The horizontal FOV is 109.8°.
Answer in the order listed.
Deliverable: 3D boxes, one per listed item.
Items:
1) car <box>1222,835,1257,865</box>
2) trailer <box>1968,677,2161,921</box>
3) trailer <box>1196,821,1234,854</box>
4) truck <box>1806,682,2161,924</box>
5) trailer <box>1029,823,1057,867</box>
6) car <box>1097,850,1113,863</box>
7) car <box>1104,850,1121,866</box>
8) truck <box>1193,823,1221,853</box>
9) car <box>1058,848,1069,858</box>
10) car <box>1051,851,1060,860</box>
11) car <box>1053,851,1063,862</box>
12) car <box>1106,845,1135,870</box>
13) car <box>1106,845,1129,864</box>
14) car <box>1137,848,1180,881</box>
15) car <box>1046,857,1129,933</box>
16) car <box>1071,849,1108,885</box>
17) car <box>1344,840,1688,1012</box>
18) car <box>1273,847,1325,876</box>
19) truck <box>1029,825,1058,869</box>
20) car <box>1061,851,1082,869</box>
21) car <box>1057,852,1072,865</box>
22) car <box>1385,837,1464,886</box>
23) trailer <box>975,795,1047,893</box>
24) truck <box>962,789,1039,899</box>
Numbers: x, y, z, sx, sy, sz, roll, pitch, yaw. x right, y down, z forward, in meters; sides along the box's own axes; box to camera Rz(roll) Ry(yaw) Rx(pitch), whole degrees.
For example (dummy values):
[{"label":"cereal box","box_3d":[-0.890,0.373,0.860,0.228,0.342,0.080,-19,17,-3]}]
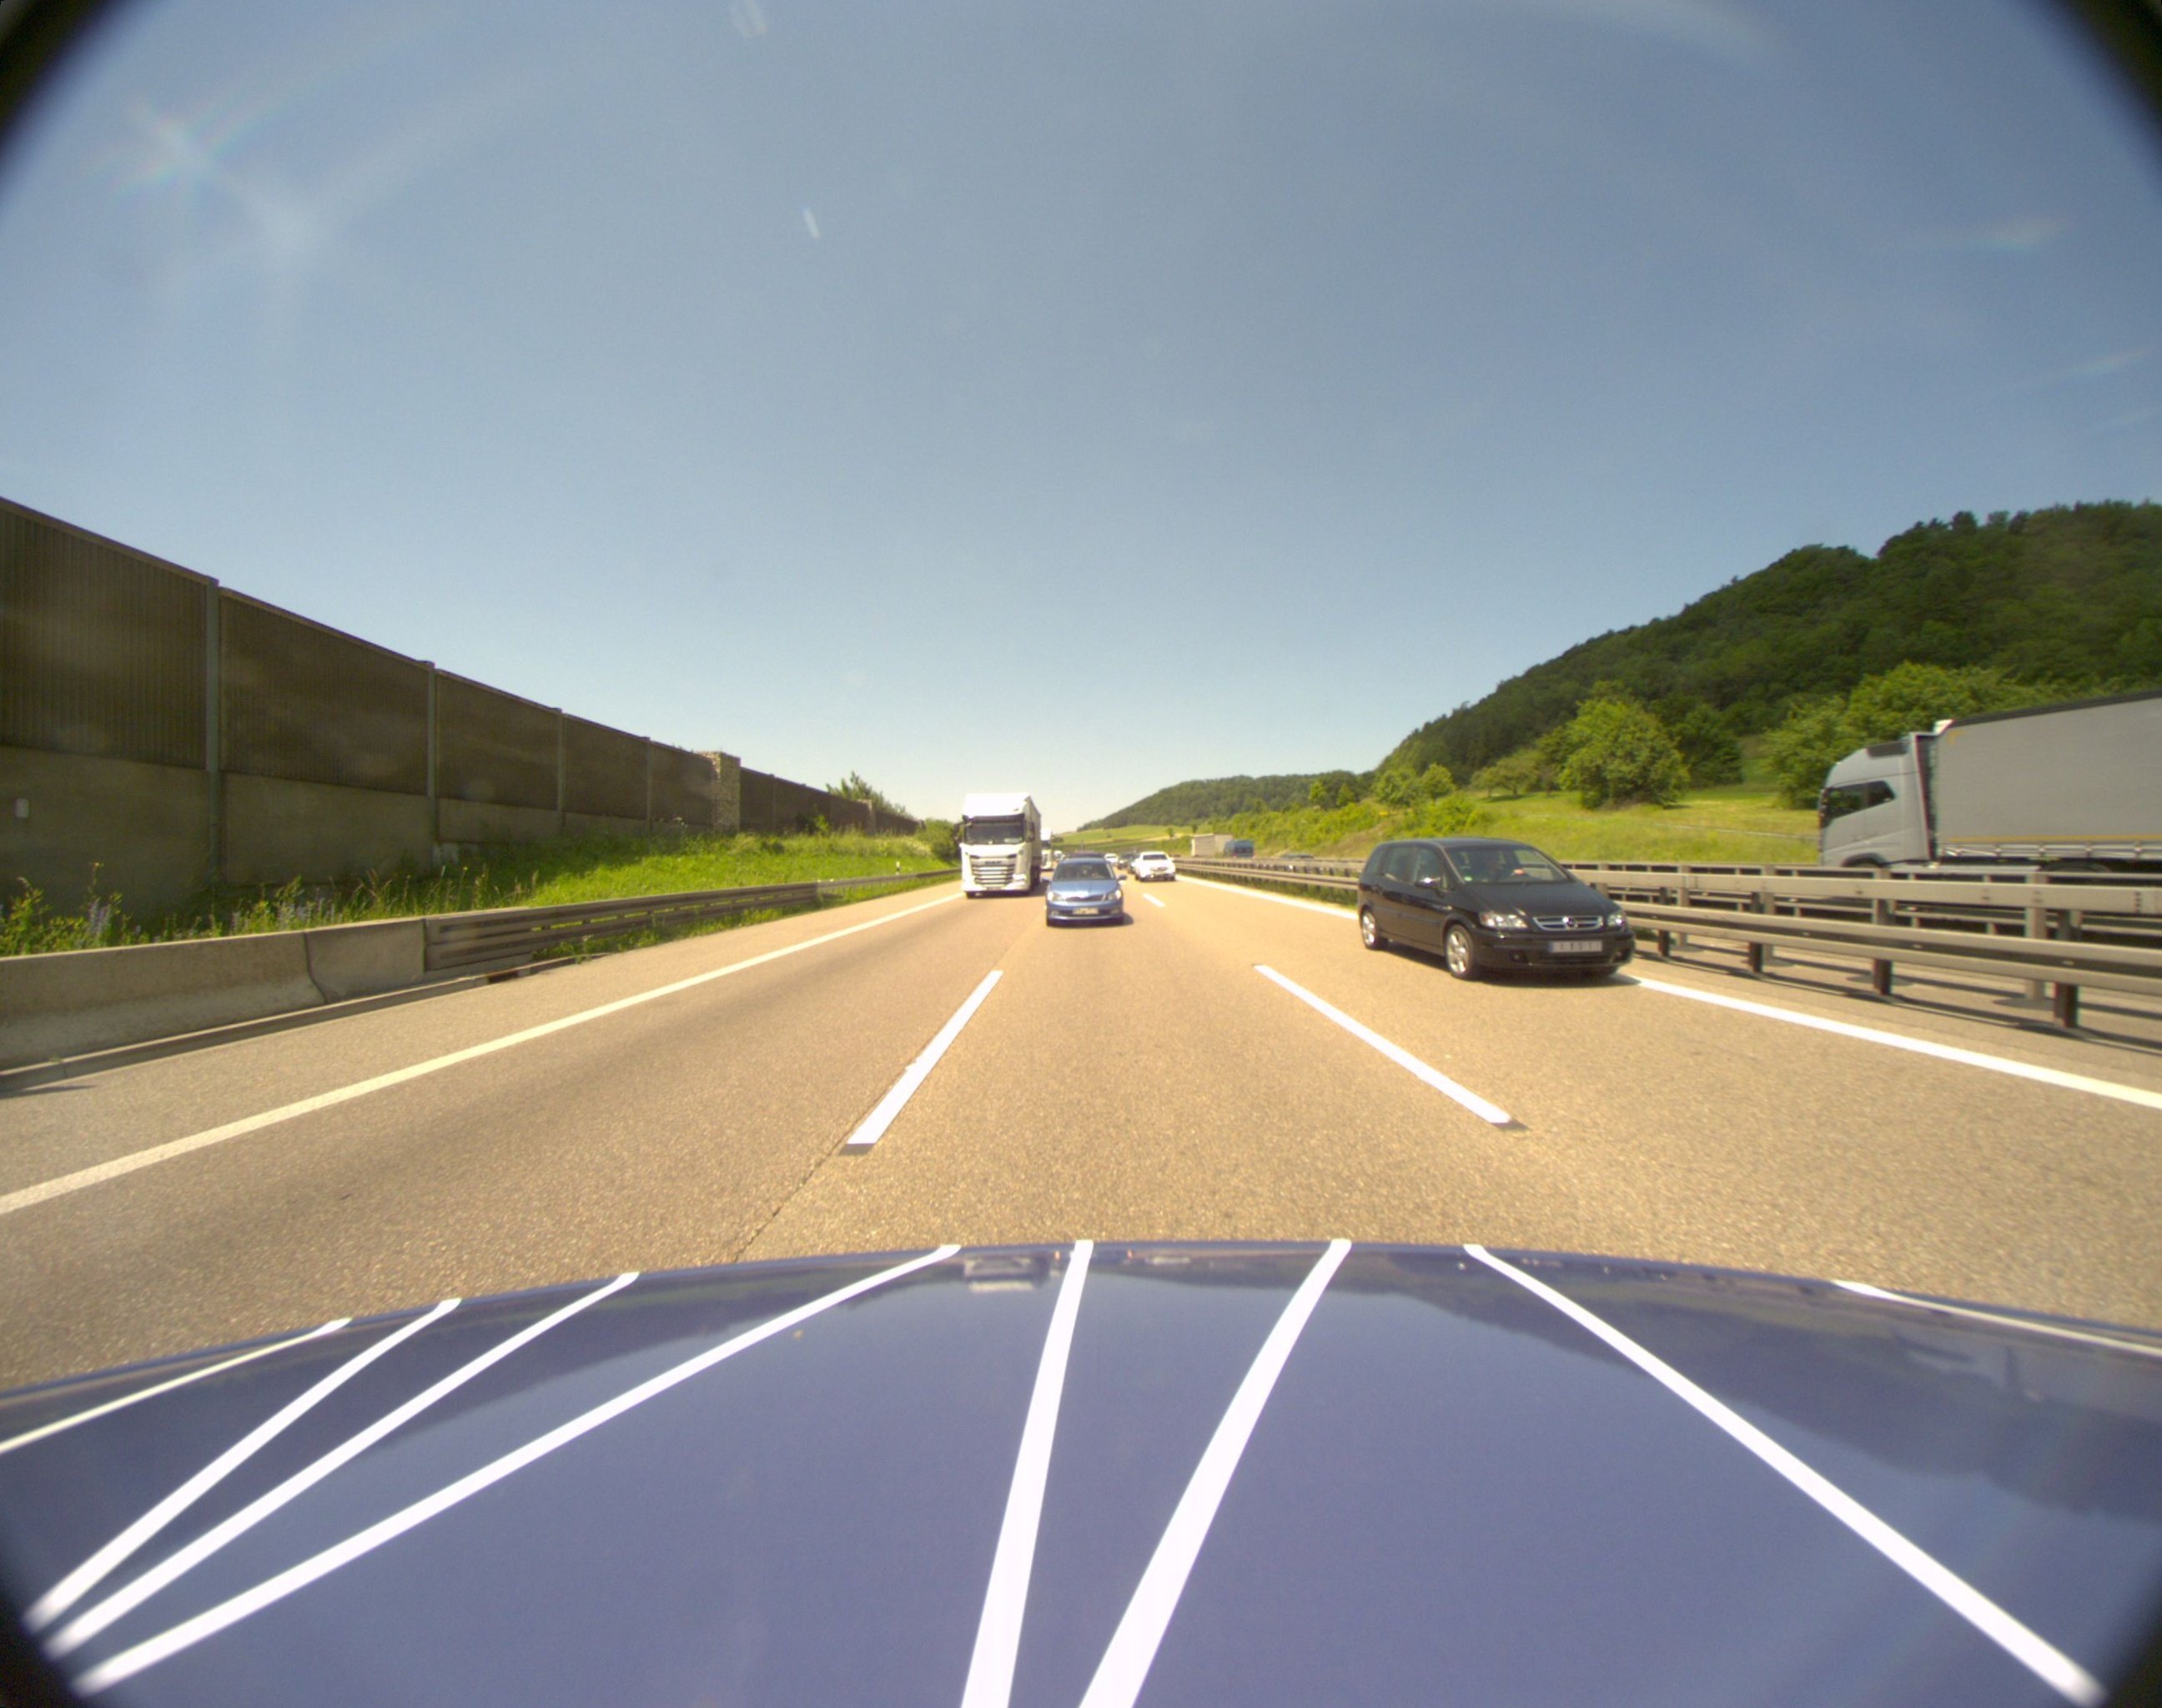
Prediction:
[{"label":"car","box_3d":[15.812,-0.460,76.299,2.161,2.846,6.398,-2,1,0]},{"label":"trailer","box_3d":[20.120,-0.939,9.402,3.255,4.180,12.998,-2,1,1]},{"label":"trailer","box_3d":[18.541,-2.240,106.001,2.862,4.167,13.612,-2,1,0]},{"label":"truck","box_3d":[20.142,-0.952,15.912,3.286,4.124,6.954,-2,1,0]},{"label":"trailer","box_3d":[-4.131,-0.946,79.784,2.545,4.085,13.621,-2,1,-4]},{"label":"car","box_3d":[3.227,0.342,103.299,1.998,1.702,3.999,-2,1,1]},{"label":"car","box_3d":[3.782,0.451,91.602,1.998,1.702,3.999,-2,1,1]},{"label":"truck","box_3d":[18.509,-2.301,112.248,2.805,4.208,7.229,-2,1,0]},{"label":"car","box_3d":[-3.239,-0.137,139.645,1.999,1.702,3.998,-2,1,-2]},{"label":"car","box_3d":[-6.079,0.305,178.404,1.999,2.002,3.998,-2,1,-2]},{"label":"car","box_3d":[-4.553,0.438,149.573,1.999,2.002,3.998,-2,1,-2]},{"label":"car","box_3d":[2.940,0.214,57.129,1.998,1.692,3.999,-2,1,1]},{"label":"car","box_3d":[3.455,0.009,72.267,1.998,1.702,3.999,-2,1,1]},{"label":"car","box_3d":[4.119,0.529,41.068,1.998,1.612,4.000,-2,1,1]},{"label":"car","box_3d":[0.050,0.841,17.831,1.660,1.481,4.652,-1,0,-2]},{"label":"car","box_3d":[0.424,0.620,38.329,1.737,1.674,4.197,-1,0,0]},{"label":"car","box_3d":[4.977,0.683,9.574,1.805,1.625,4.445,-1,0,0]},{"label":"car","box_3d":[12.158,0.389,42.552,1.772,1.476,4.024,-1,0,0]},{"label":"truck","box_3d":[-3.721,-0.684,74.026,2.532,4.065,6.077,-2,1,-4]},{"label":"car","box_3d":[-0.999,0.642,79.845,1.999,1.702,3.998,-2,1,-2]},{"label":"car","box_3d":[-2.252,0.592,102.378,1.999,1.702,3.998,-2,1,-2]},{"label":"car","box_3d":[15.778,0.300,35.185,1.890,2.106,4.284,-1,0,3]},{"label":"trailer","box_3d":[-3.176,-0.443,37.873,2.484,3.954,13.652,-1,0,-1]},{"label":"truck","box_3d":[-3.111,-0.384,30.947,2.484,3.954,6.380,-1,1,-1]}]
